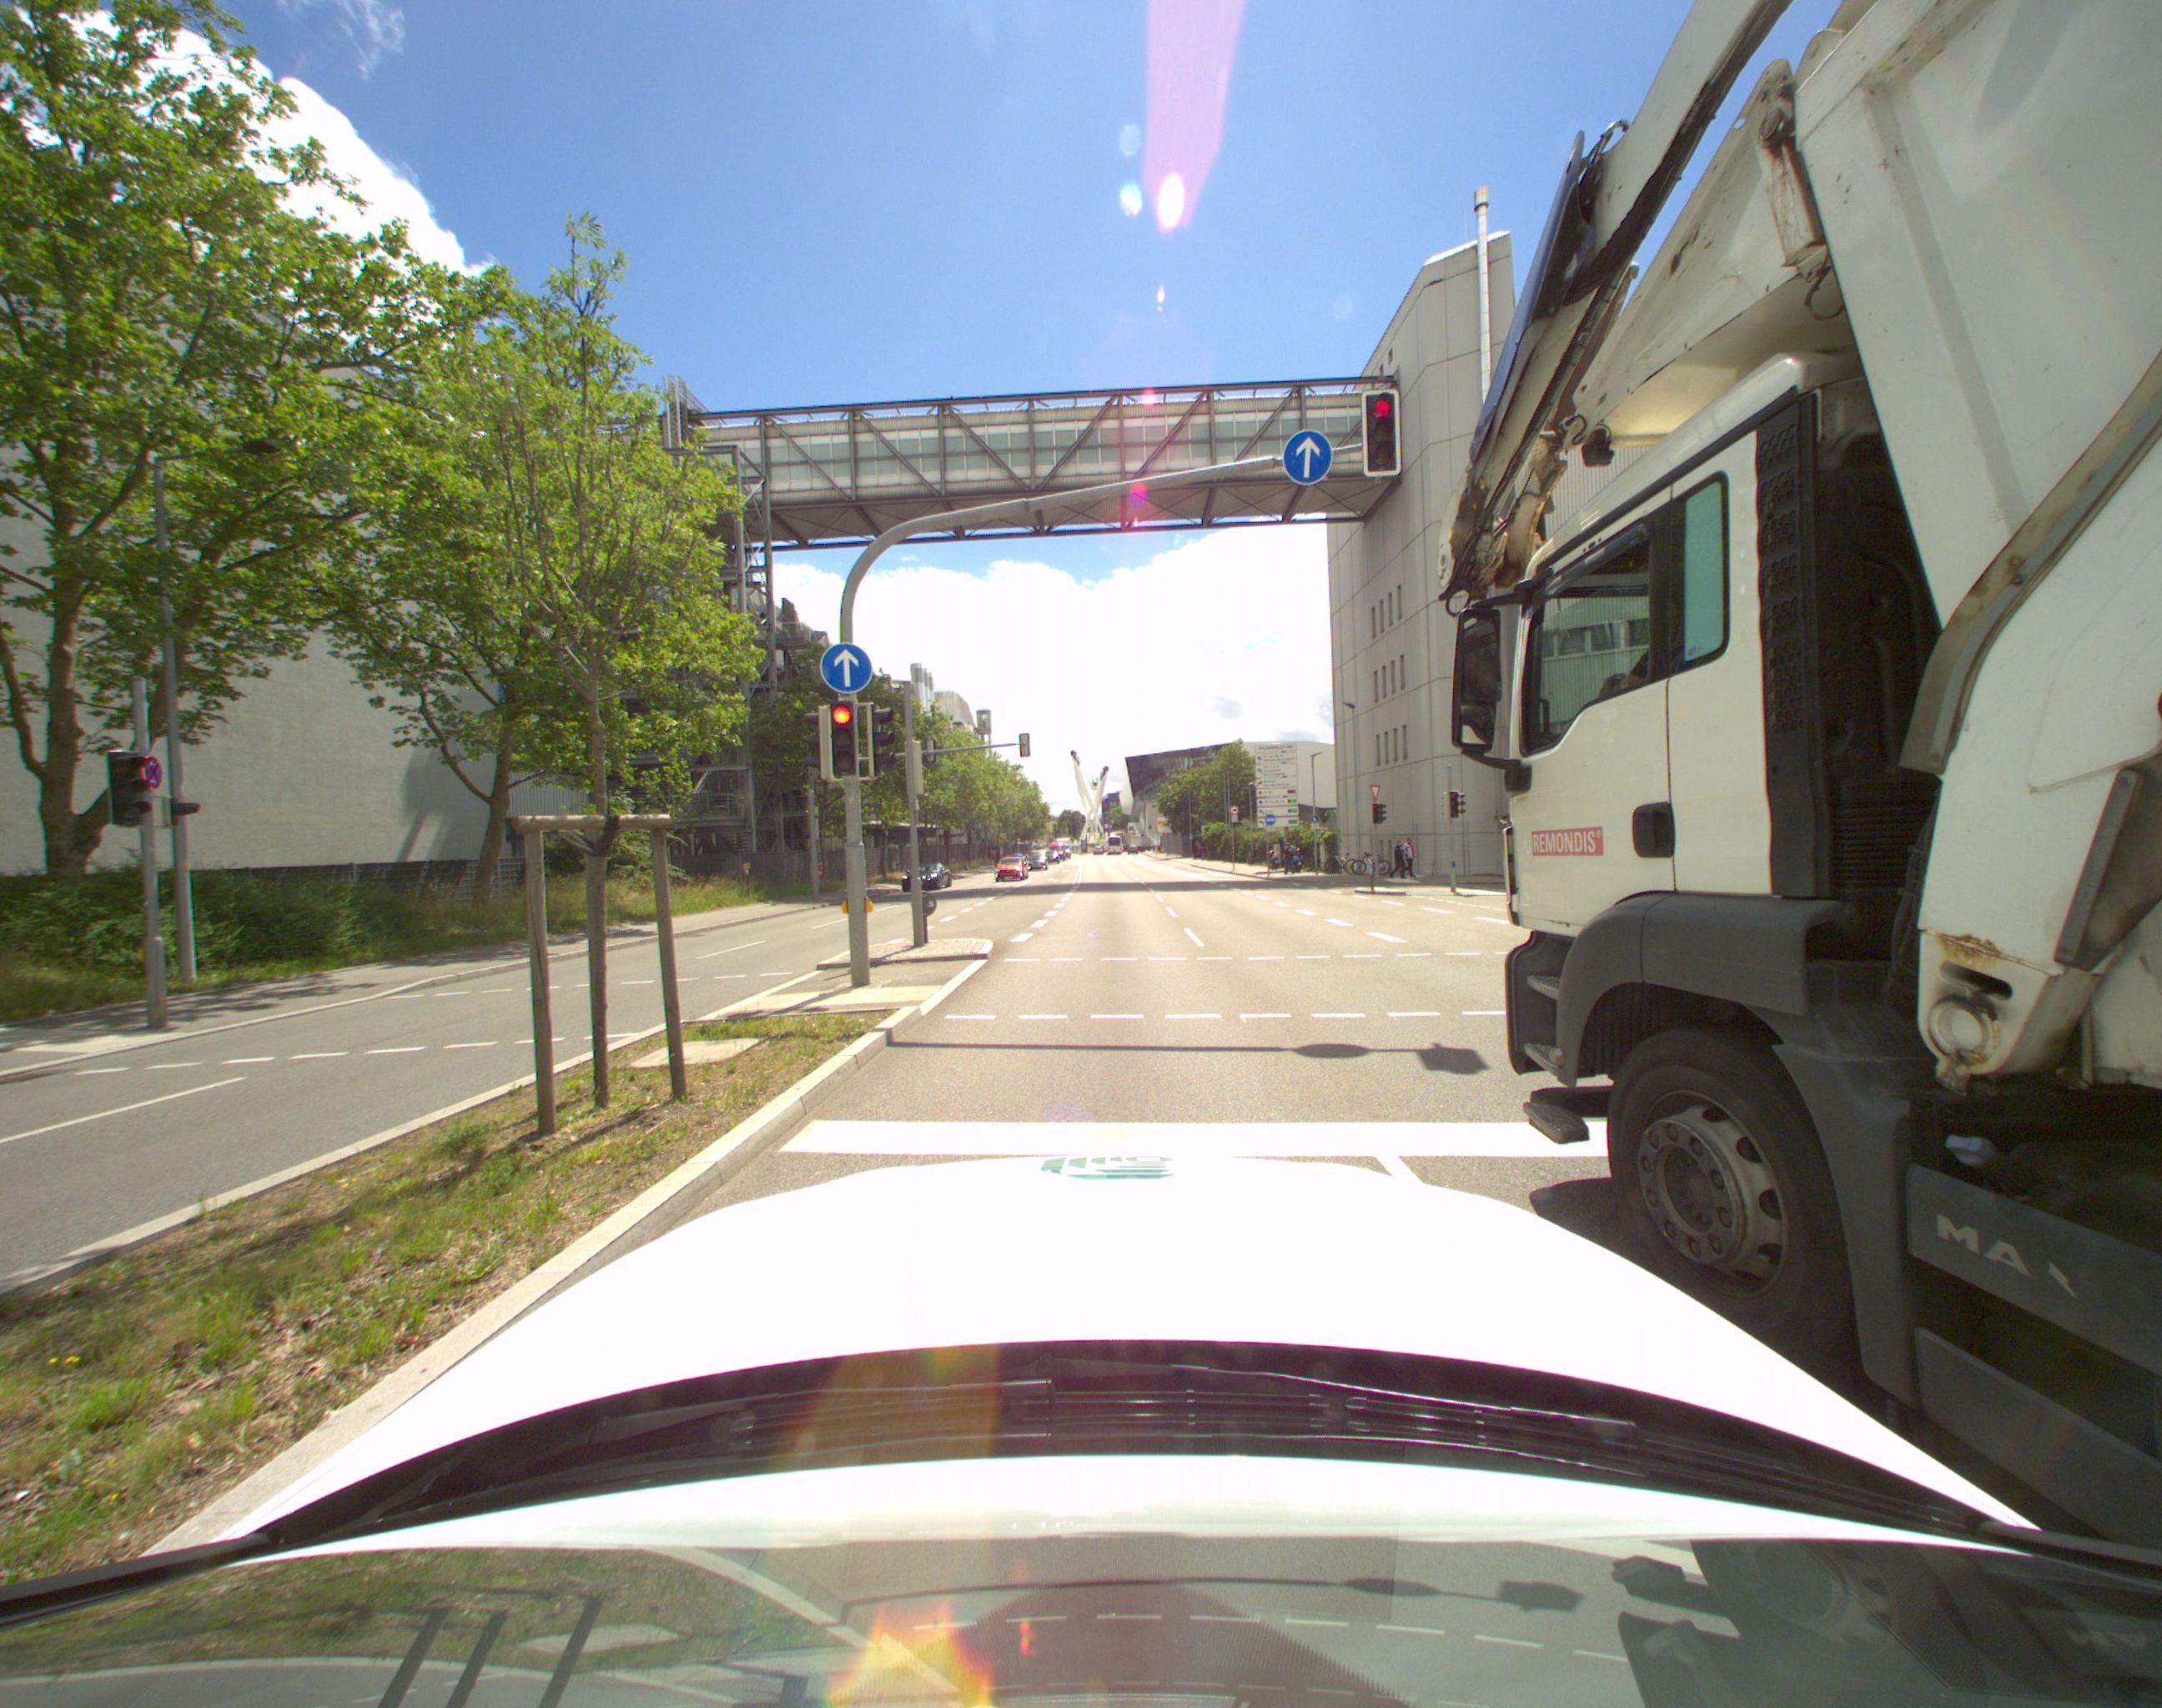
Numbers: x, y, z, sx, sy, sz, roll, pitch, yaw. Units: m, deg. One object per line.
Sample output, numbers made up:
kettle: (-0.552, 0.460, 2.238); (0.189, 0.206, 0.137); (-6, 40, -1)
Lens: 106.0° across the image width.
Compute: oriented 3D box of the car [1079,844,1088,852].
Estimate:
car: (0.524, -1.139, 155.955); (1.551, 1.273, 3.704); (-4, 0, 3)

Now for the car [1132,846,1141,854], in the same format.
car: (9.895, -0.780, 146.266); (1.551, 1.273, 3.704); (-4, 0, 3)

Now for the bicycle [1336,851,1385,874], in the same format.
bicycle: (13.516, 0.403, 39.370); (2.196, 1.086, 0.480); (-1, -1, 37)

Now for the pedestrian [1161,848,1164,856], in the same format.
pedestrian: (13.433, -0.351, 133.780); (0.384, 1.421, 0.424); (0, -1, 2)

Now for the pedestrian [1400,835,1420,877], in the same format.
pedestrian: (14.428, 0.077, 35.727); (0.703, 1.793, 0.698); (-4, 0, 22)

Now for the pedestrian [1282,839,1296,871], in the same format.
pedestrian: (11.034, 0.056, 43.298); (0.532, 1.640, 0.657); (0, -1, -4)

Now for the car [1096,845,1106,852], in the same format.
car: (3.663, -0.993, 148.892); (1.551, 1.273, 3.704); (-4, 0, 3)

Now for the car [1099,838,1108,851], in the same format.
car: (4.805, -1.924, 171.299); (1.837, 2.624, 4.001); (0, -1, 1)

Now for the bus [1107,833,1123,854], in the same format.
bus: (6.272, -1.894, 150.154); (2.776, 3.686, 6.947); (0, -1, 3)

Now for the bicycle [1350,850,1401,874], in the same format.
bicycle: (13.862, 0.393, 38.362); (2.166, 1.086, 0.480); (-1, -1, 37)

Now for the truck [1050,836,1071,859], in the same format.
truck: (-3.065, -0.988, 123.606); (2.581, 3.324, 7.083); (0, -1, 3)

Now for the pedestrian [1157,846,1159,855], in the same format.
pedestrian: (12.645, -0.557, 133.813); (0.384, 1.421, 0.424); (0, -1, 2)

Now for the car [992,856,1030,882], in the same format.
car: (-4.228, 0.887, 49.646); (1.762, 1.420, 3.704); (-4, 0, 3)

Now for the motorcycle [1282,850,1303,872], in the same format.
motorcycle: (11.649, 0.399, 44.904); (0.418, 1.166, 1.951); (0, -1, -9)

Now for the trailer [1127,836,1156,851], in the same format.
trailer: (12.820, -2.196, 172.118); (3.291, 2.995, 10.429); (-1, -1, 21)

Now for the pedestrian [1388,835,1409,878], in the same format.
pedestrian: (13.765, 0.121, 35.302); (0.703, 1.793, 0.646); (-4, 0, 22)

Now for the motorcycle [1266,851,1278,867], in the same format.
motorcycle: (12.172, 0.339, 51.881); (0.455, 1.022, 1.914); (0, -1, 4)

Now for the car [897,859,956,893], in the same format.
car: (-8.124, 1.118, 43.289); (1.910, 1.488, 4.775); (-4, 0, 3)

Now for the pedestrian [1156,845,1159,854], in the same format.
pedestrian: (12.795, -0.752, 136.144); (0.384, 1.421, 0.424); (0, -1, 2)

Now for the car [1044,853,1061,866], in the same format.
car: (-3.332, 0.647, 96.027); (1.551, 1.448, 3.775); (-4, 0, 3)

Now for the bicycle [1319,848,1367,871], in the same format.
bicycle: (13.082, 0.280, 40.714); (2.196, 1.086, 0.480); (-1, -1, 37)

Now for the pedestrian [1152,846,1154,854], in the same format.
pedestrian: (12.101, -0.709, 136.902); (0.384, 1.421, 0.424); (0, -1, 2)

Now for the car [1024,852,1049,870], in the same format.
car: (-3.917, 0.607, 72.483); (1.762, 1.420, 3.704); (-4, 0, 3)

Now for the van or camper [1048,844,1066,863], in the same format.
van or camper: (-3.250, -0.094, 111.025); (2.038, 2.466, 5.598); (-1, 0, 3)

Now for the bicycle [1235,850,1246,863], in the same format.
bicycle: (12.722, 0.175, 65.139); (0.417, 1.022, 1.911); (0, -1, -2)
